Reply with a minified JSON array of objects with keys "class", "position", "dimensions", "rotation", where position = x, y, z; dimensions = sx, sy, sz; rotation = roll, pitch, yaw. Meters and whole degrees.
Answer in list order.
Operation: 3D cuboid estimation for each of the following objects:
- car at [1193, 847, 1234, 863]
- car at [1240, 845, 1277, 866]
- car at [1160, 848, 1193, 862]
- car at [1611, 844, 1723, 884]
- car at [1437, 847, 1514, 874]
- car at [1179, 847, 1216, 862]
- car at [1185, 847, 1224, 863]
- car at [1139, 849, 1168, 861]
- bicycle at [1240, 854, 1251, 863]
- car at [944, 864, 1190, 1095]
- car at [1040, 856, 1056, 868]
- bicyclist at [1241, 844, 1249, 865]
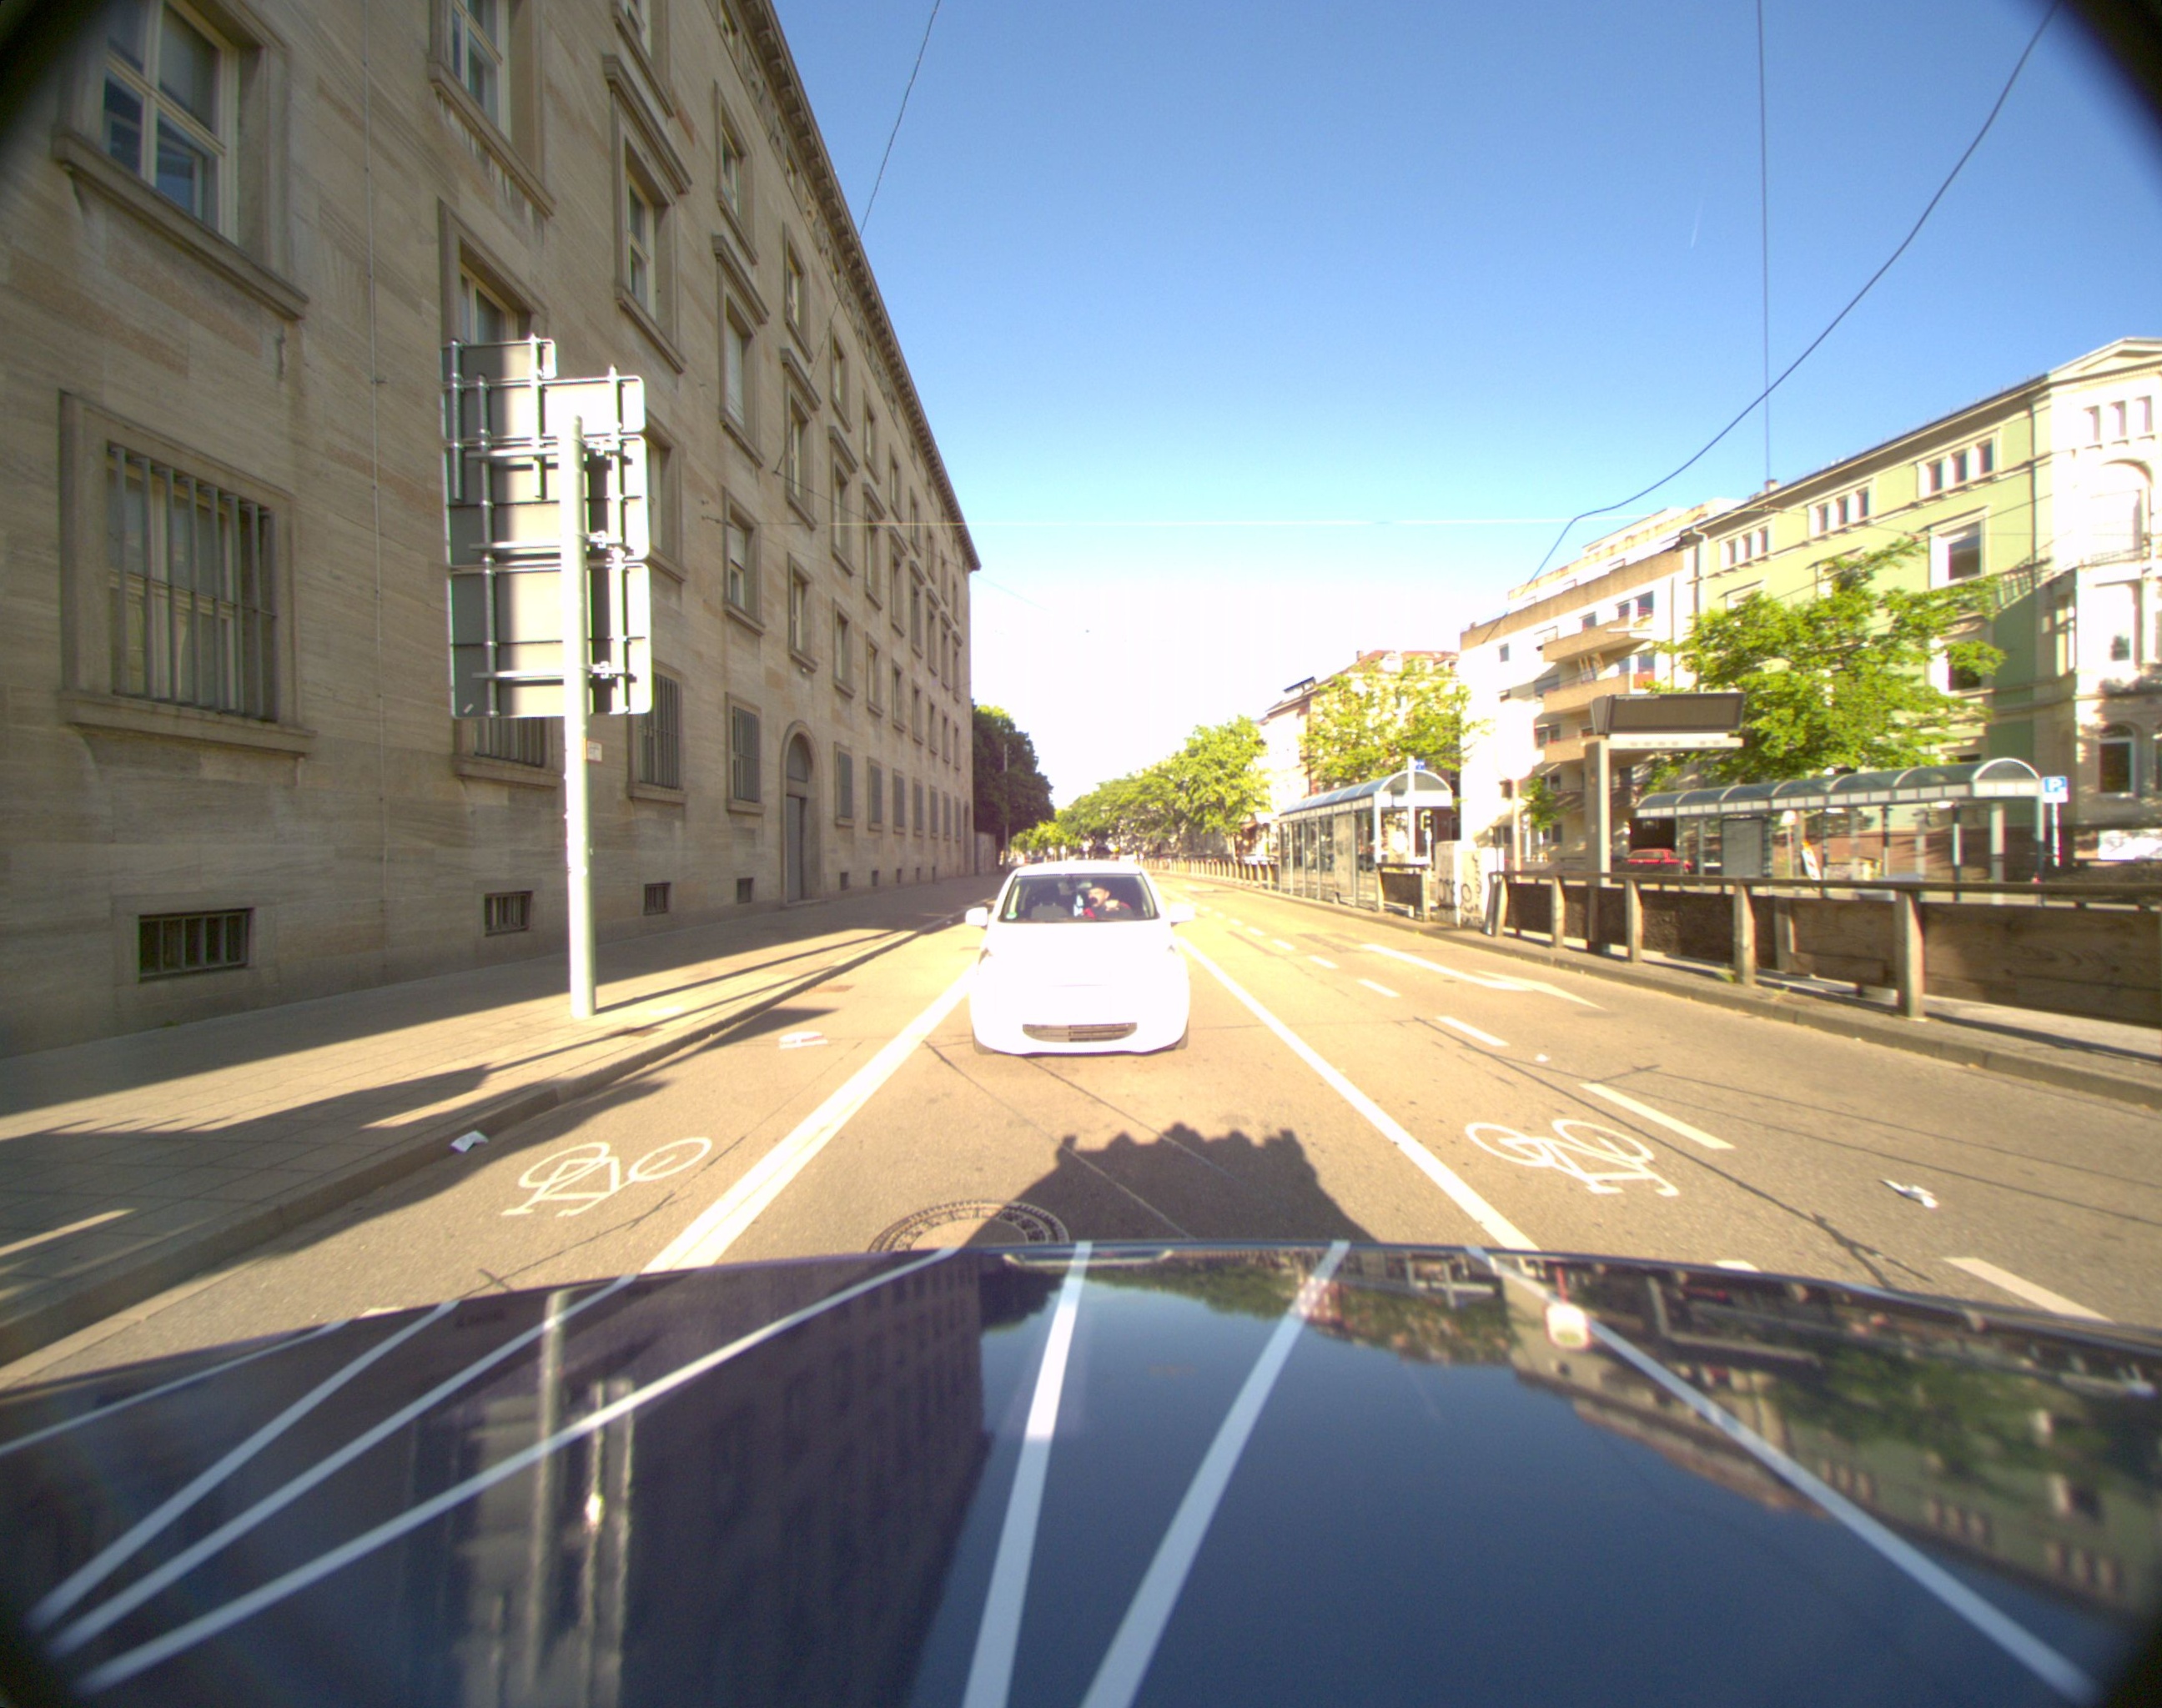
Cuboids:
[{"class":"car","position":[13.828,0.097,79.291],"dimensions":[3.995,1.674,2.001],"rotation":[-1,0,4]},{"class":"car","position":[16.484,0.144,70.372],"dimensions":[1.994,1.713,4.007],"rotation":[0,2,35]},{"class":"car","position":[11.646,0.102,92.791],"dimensions":[3.864,1.583,2.001],"rotation":[-1,0,5]},{"class":"car","position":[24.059,0.388,31.235],"dimensions":[3.796,1.526,1.772],"rotation":[0,0,-17]},{"class":"car","position":[20.984,0.320,40.523],"dimensions":[1.615,1.387,3.516],"rotation":[-1,0,-19]},{"class":"car","position":[13.361,0.050,87.229],"dimensions":[3.995,1.674,2.001],"rotation":[-1,0,4]},{"class":"car","position":[13.548,0.080,83.425],"dimensions":[3.995,1.674,2.001],"rotation":[-1,0,4]},{"class":"car","position":[9.787,0.078,102.419],"dimensions":[3.864,1.583,2.001],"rotation":[-1,0,4]},{"class":"bicycle","position":[14.020,0.387,64.898],"dimensions":[0.536,0.783,1.852],"rotation":[-1,1,1]},{"class":"car","position":[-0.064,0.859,6.861],"dimensions":[1.612,1.450,3.668],"rotation":[-1,0,1]},{"class":"car","position":[-5.051,1.142,115.333],"dimensions":[2.000,1.761,3.996],"rotation":[-1,0,-9]},{"class":"bicyclist","position":[14.013,0.041,64.938],"dimensions":[0.536,1.751,0.771],"rotation":[-1,1,1]}]
